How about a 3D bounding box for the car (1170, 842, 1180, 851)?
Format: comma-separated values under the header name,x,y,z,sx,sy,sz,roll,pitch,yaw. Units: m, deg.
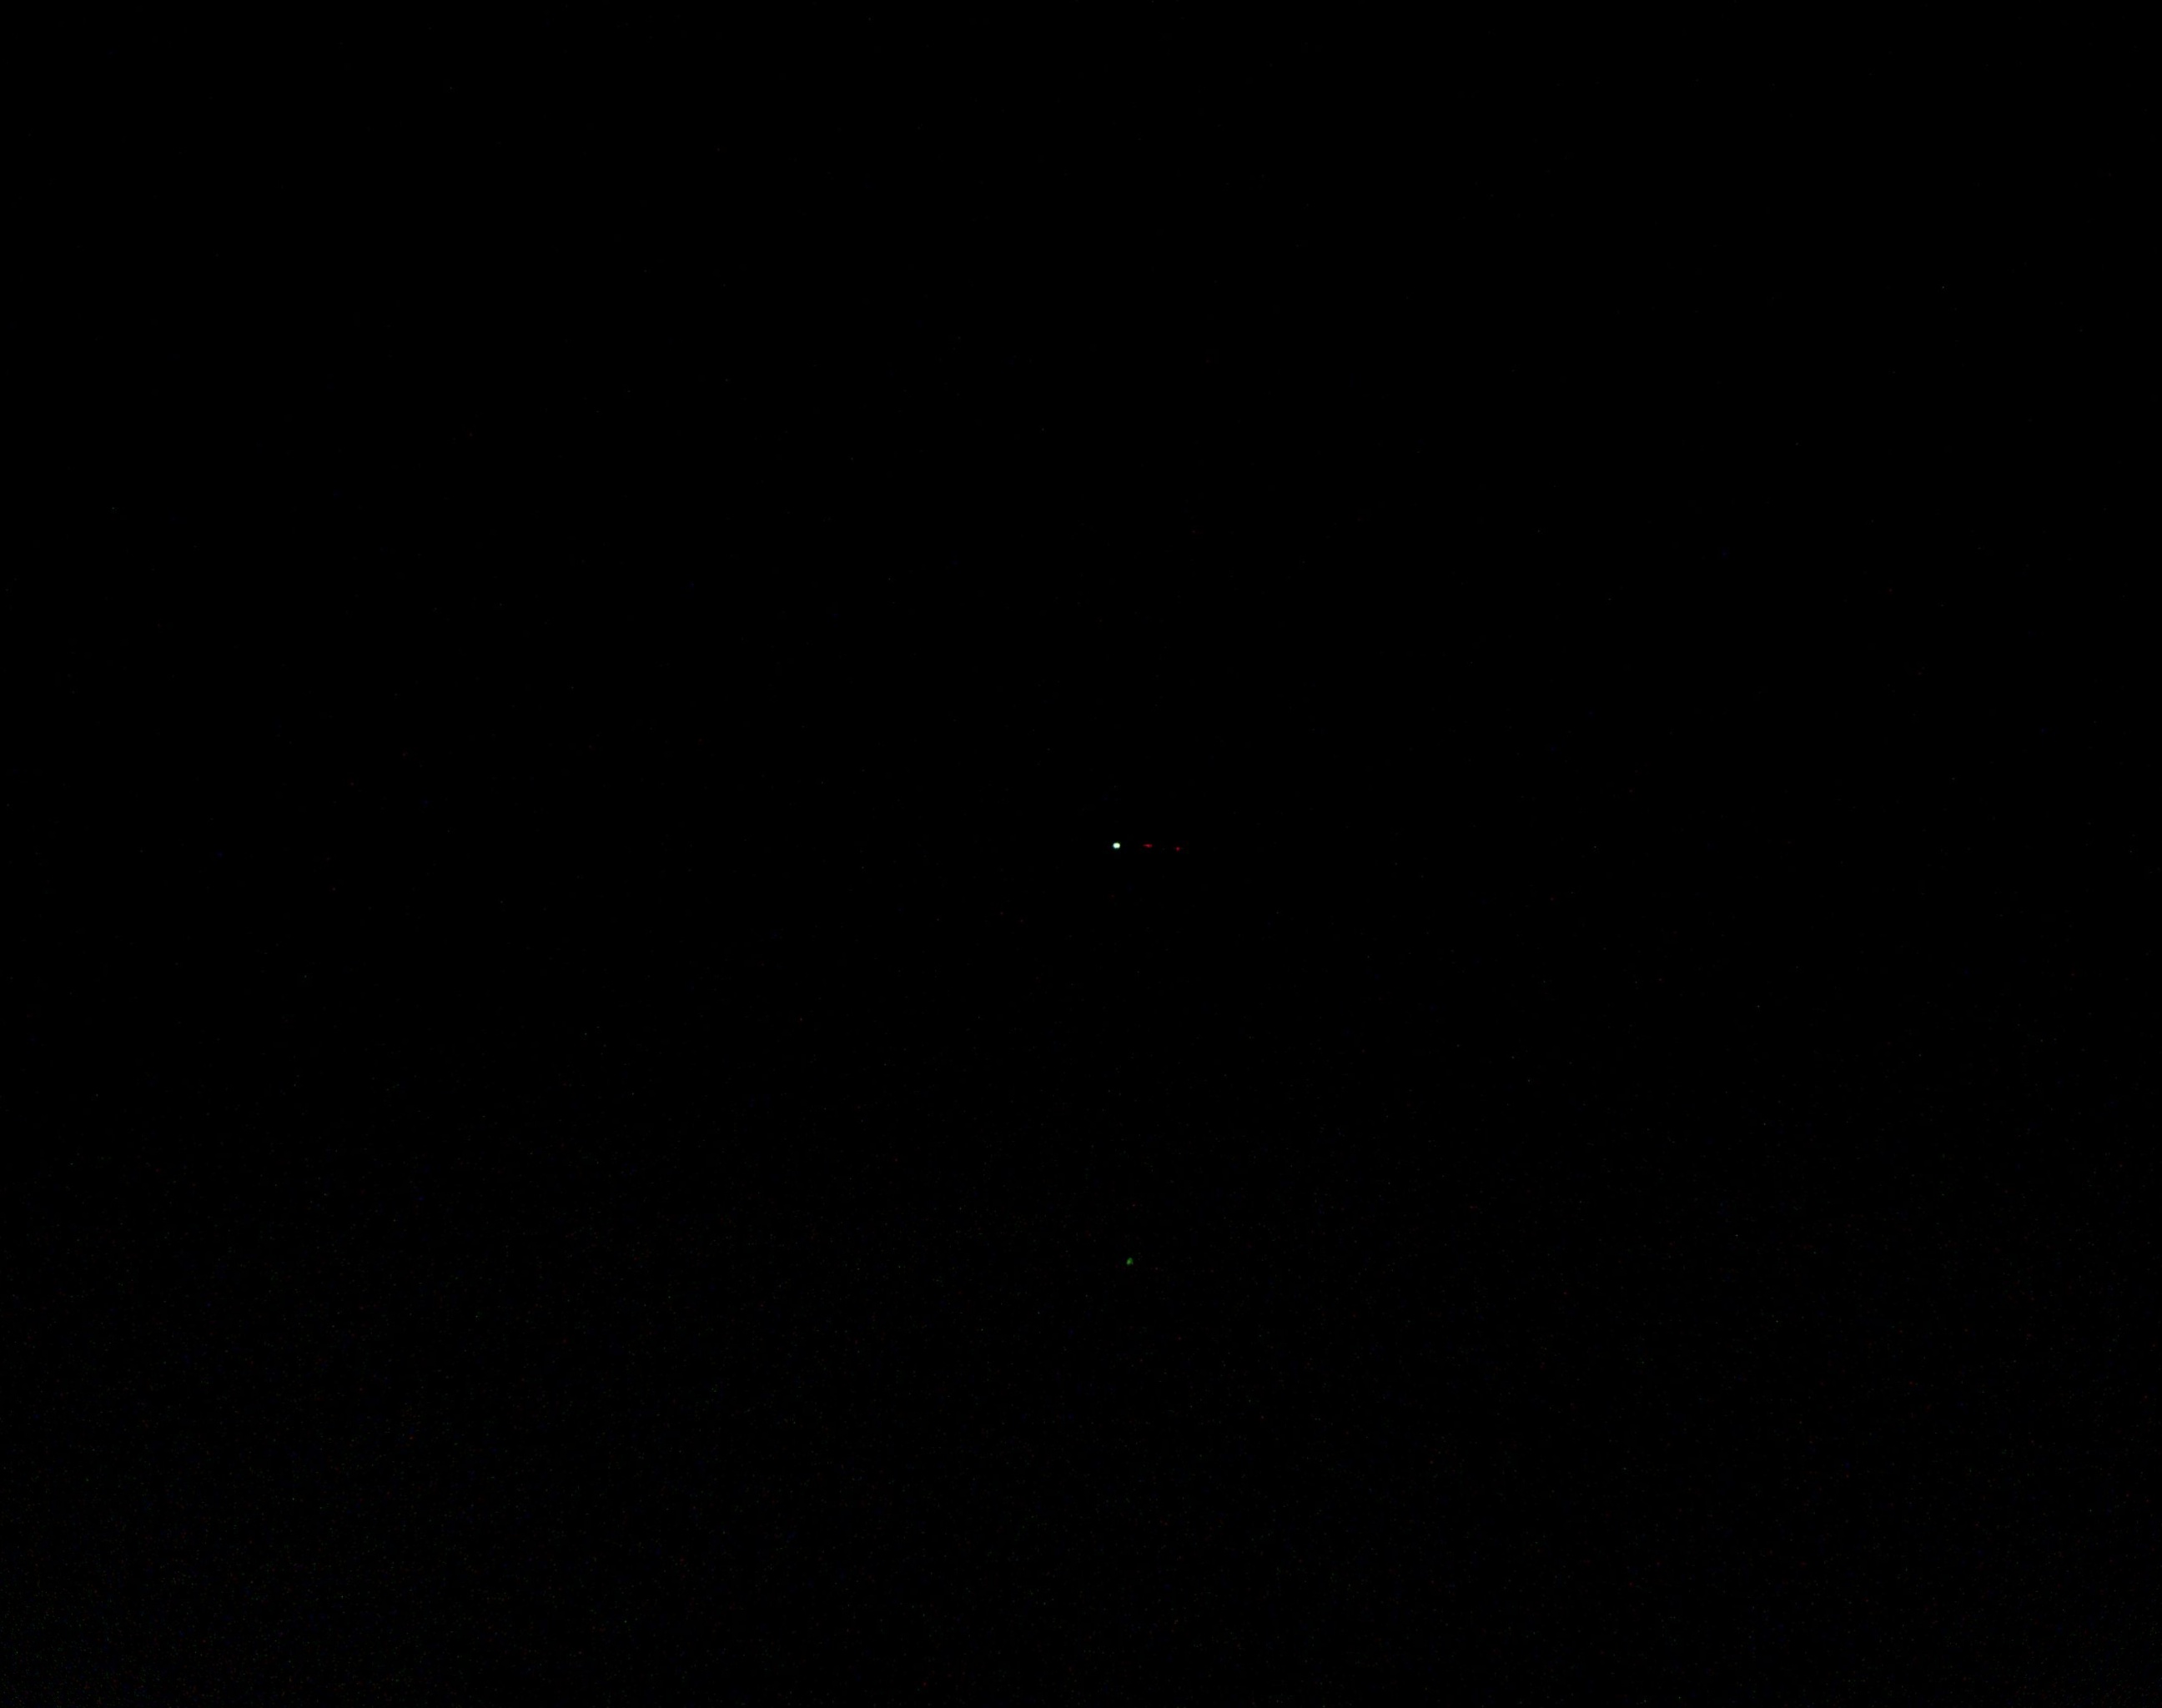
name,x,y,z,sx,sy,sz,roll,pitch,yaw
car,22.227,-1.707,180.322,1.998,2.002,4.608,-2,1,2
